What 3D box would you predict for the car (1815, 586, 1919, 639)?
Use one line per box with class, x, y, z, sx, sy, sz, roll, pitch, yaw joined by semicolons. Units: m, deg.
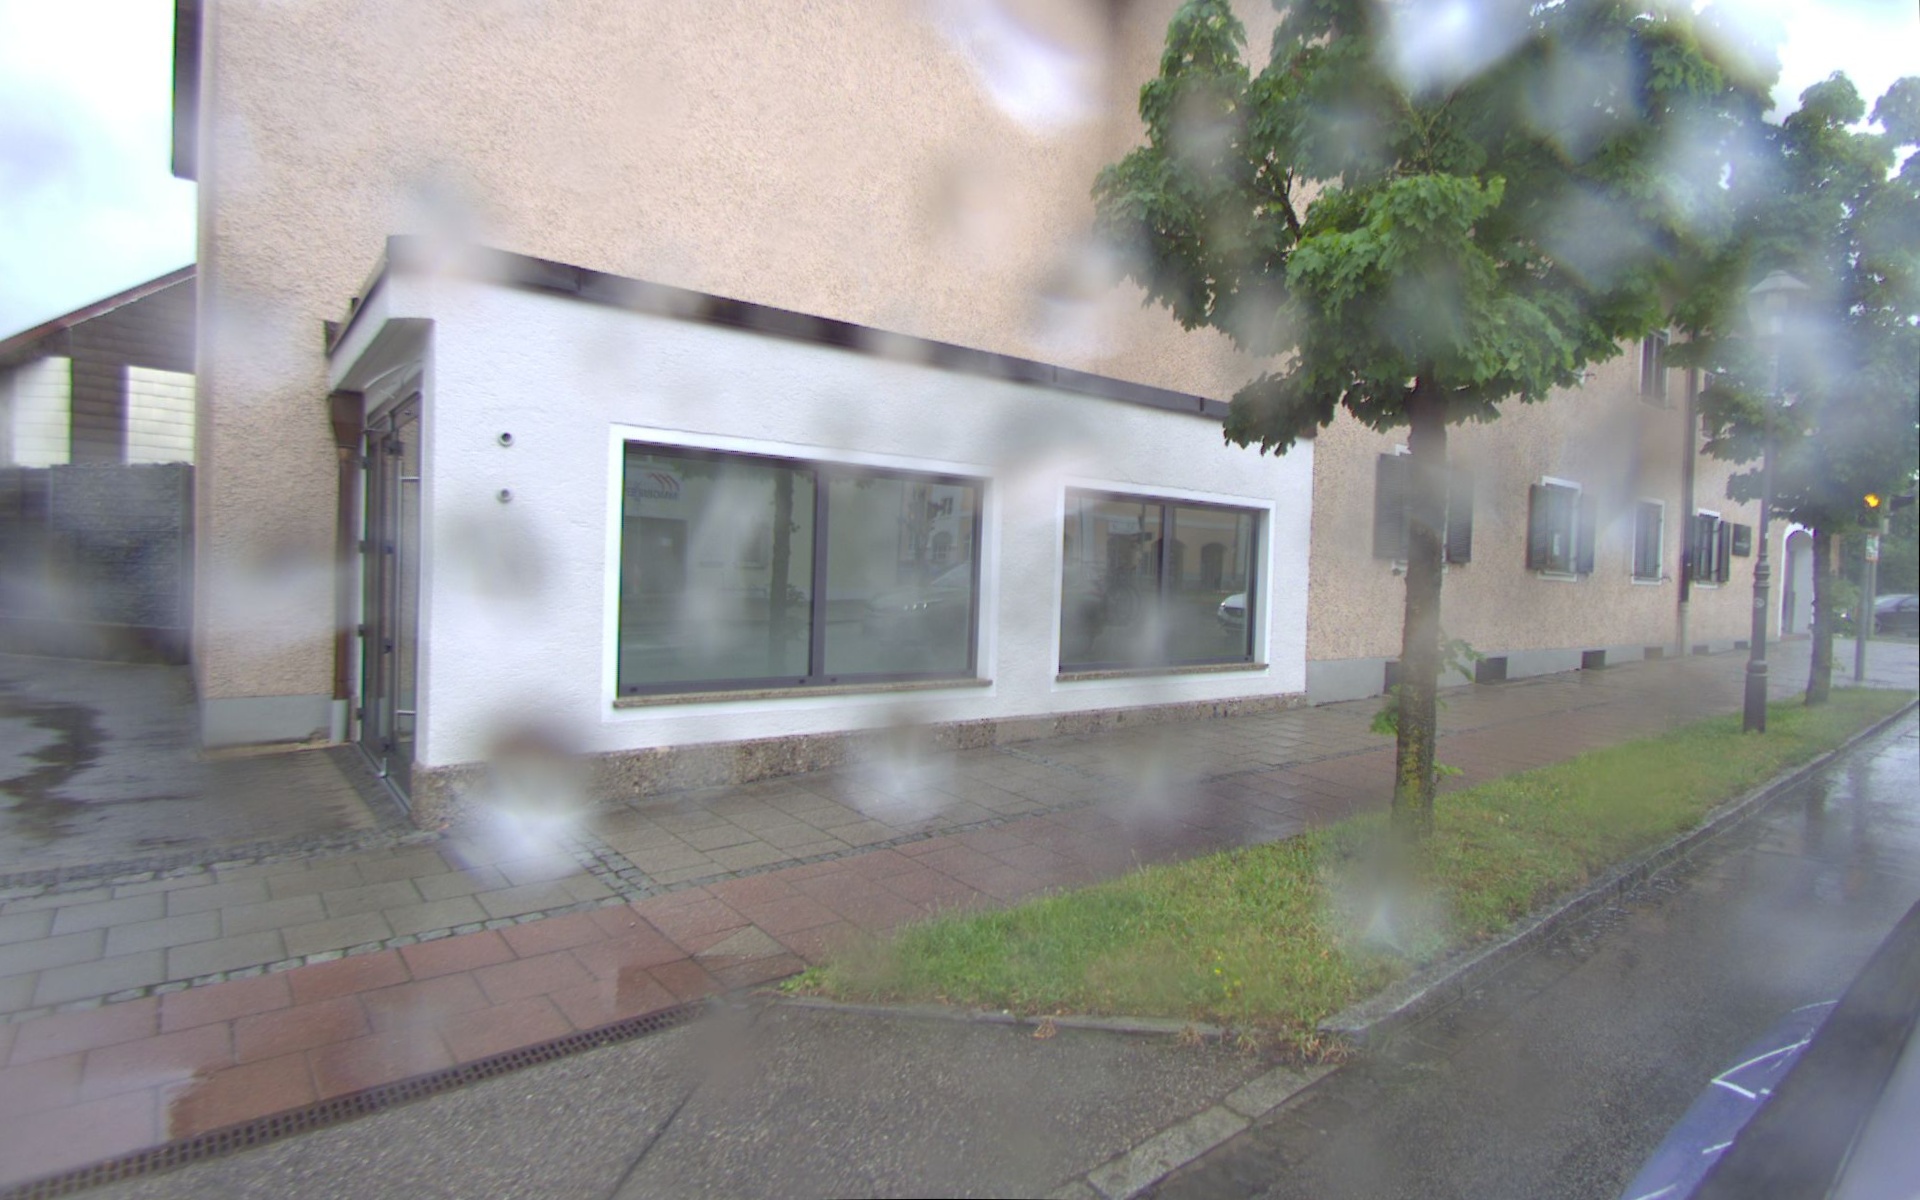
car;32.638;0.447;35.253;4.004;1.685;1.837;3;3;31
